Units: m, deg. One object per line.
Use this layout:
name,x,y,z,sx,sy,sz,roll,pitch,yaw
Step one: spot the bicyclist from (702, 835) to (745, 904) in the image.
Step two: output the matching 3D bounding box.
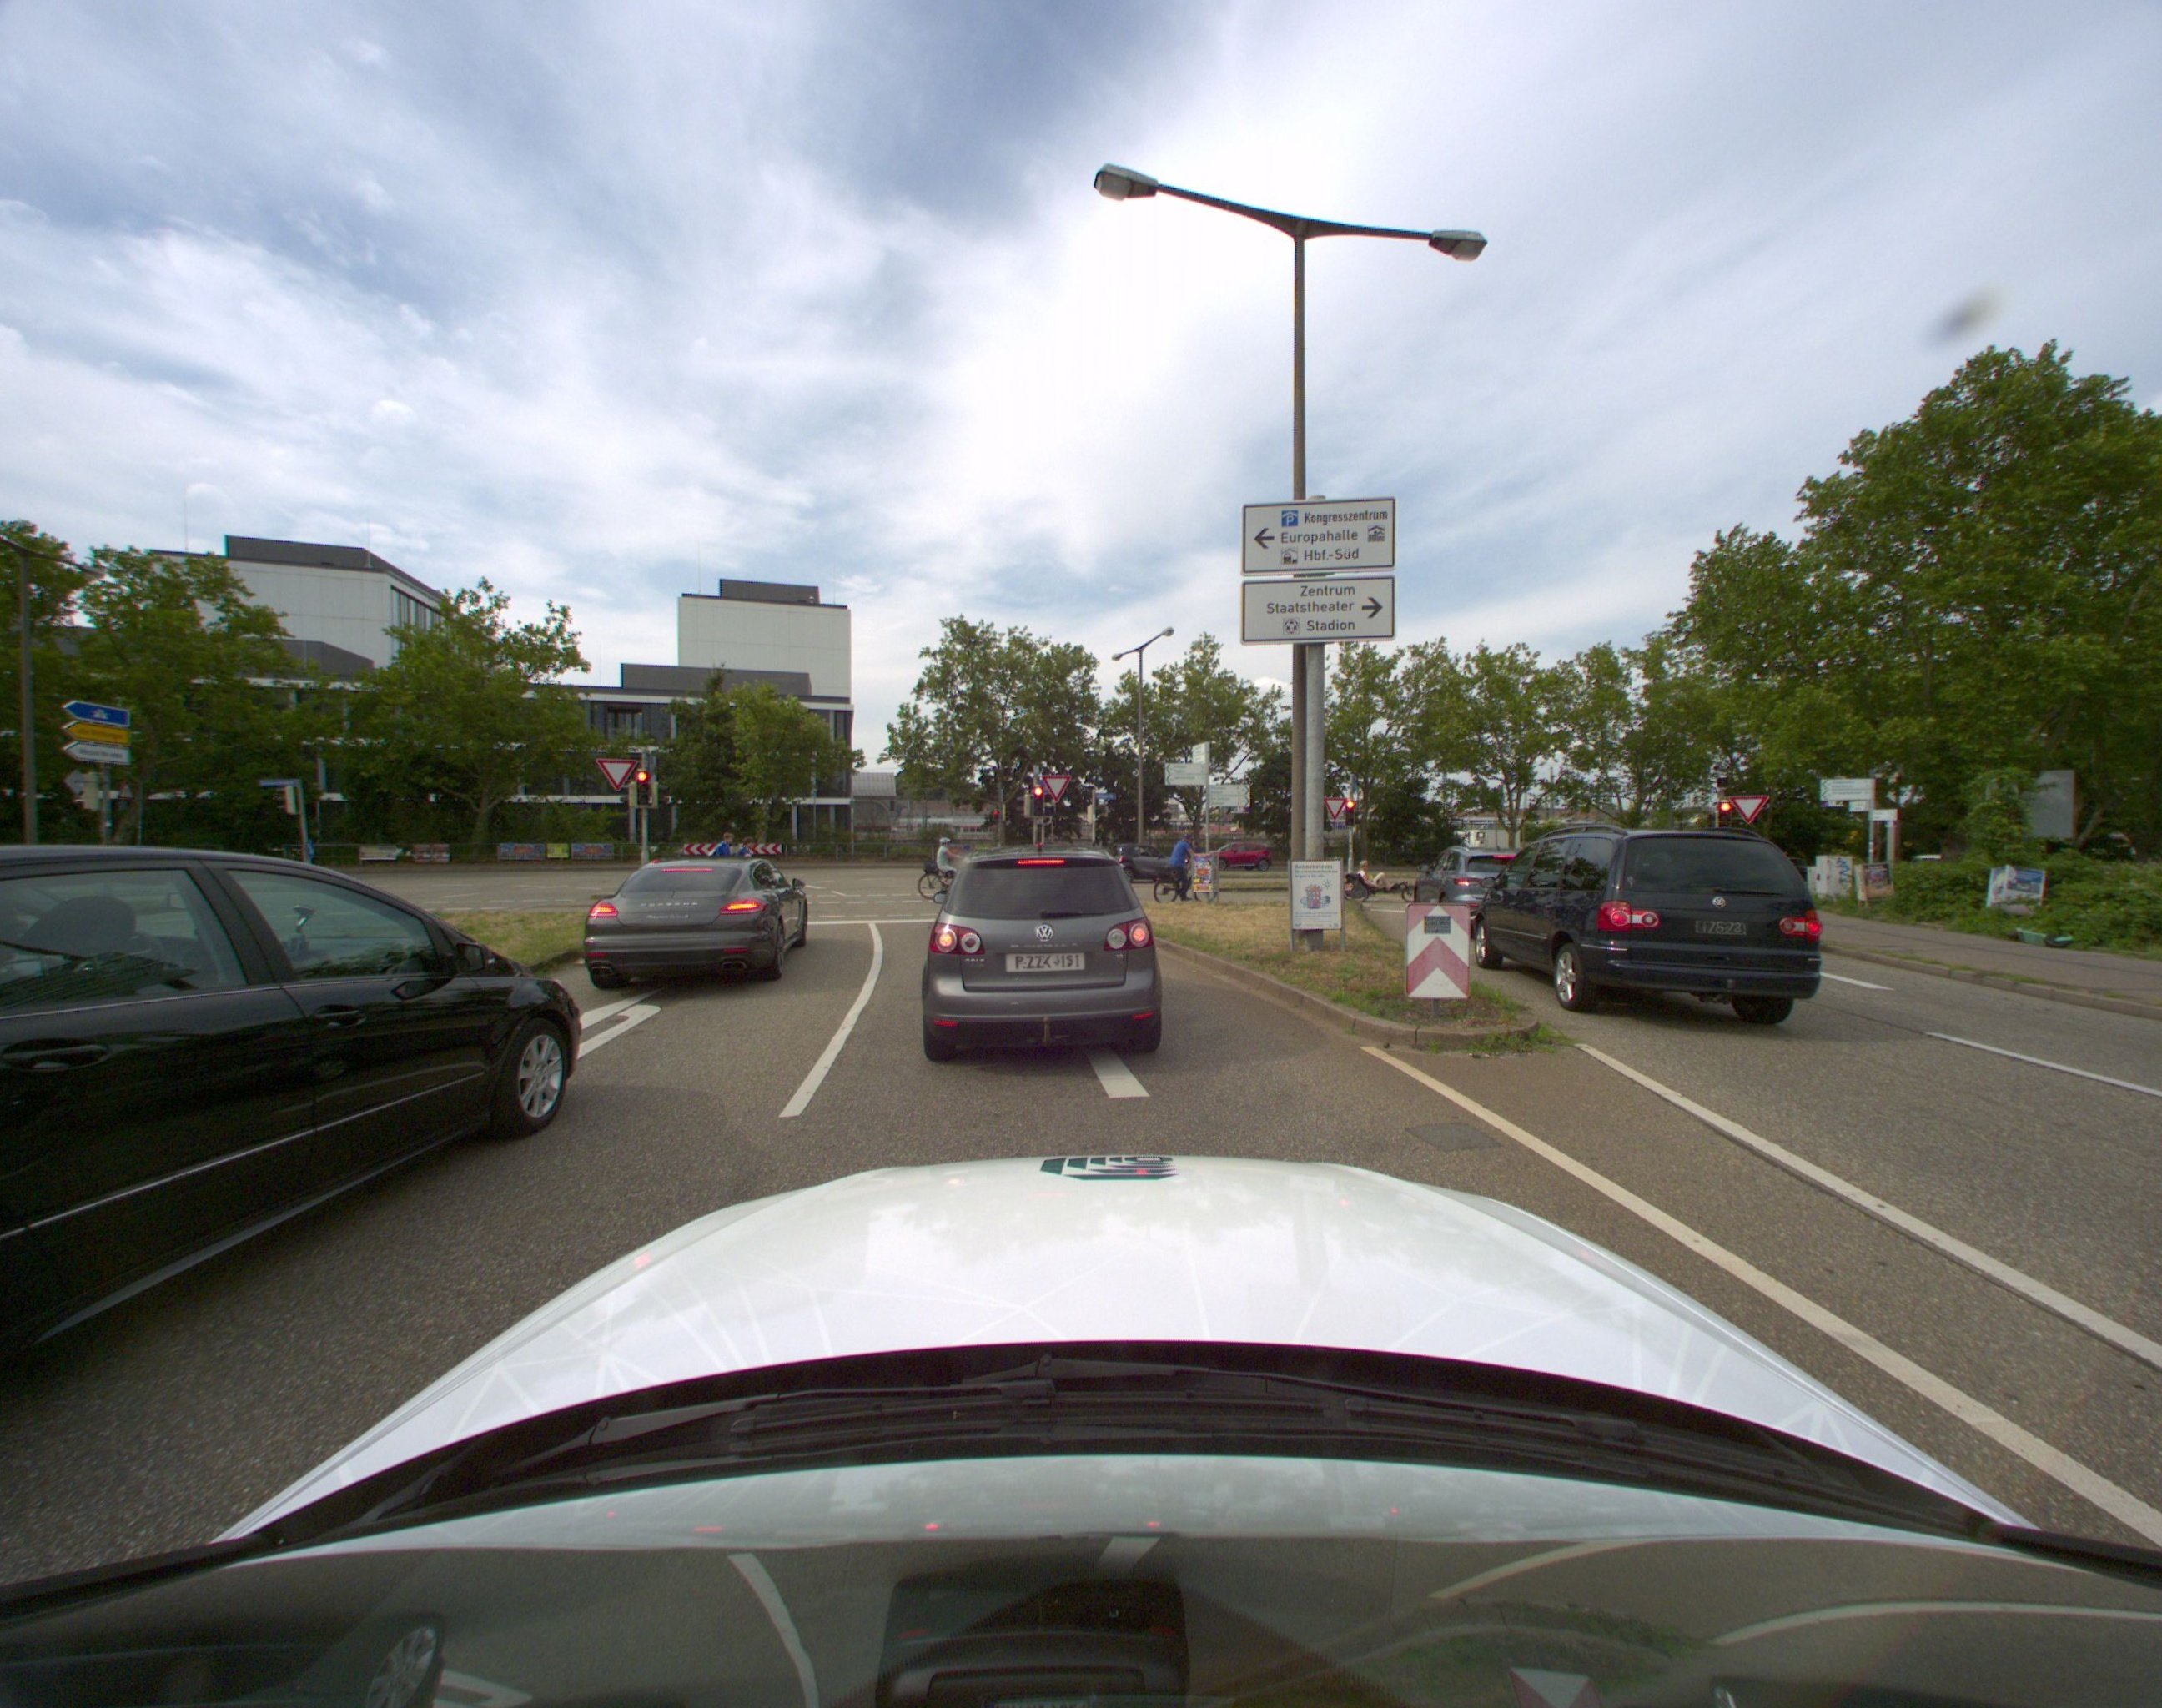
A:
bicyclist,-8.201,0.338,18.721,0.841,1.529,0.624,-1,1,-19

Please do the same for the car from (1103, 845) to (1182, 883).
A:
car,2.405,0.352,32.006,2.719,1.422,1.490,-1,0,-19

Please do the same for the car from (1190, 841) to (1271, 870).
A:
car,8.097,0.063,44.148,3.963,1.448,1.692,-1,0,-19

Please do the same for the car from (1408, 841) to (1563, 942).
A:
car,7.391,0.609,15.299,1.679,1.585,4.171,2,0,13

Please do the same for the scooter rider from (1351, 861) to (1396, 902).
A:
scooter rider,8.328,0.771,23.202,0.914,1.137,0.805,0,1,-13

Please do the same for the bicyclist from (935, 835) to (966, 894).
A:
bicyclist,-3.609,0.277,22.489,0.781,1.581,0.651,-1,1,-15

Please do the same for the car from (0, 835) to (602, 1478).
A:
car,-3.653,0.729,2.964,1.755,1.575,4.028,0,1,-6

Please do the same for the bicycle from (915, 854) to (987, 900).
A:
bicycle,-3.600,0.622,22.509,1.904,1.210,0.640,-1,1,-15

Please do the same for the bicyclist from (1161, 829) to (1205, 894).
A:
bicyclist,2.664,0.195,21.326,0.883,1.656,0.807,-1,0,-17

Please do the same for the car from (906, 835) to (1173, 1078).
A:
car,-0.461,0.647,7.363,1.739,1.546,4.073,-1,0,-6

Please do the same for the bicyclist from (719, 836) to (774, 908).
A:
bicyclist,-7.270,0.370,17.720,1.018,1.539,0.625,-1,1,-16

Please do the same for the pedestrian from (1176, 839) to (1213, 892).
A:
pedestrian,3.766,0.358,26.958,1.038,1.710,0.858,1,1,19

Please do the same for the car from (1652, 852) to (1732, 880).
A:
car,37.037,0.697,49.389,3.907,1.596,1.902,-1,1,-16

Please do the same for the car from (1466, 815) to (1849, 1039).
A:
car,5.574,0.573,8.601,1.739,1.724,4.151,2,0,11

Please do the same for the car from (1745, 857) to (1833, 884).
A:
car,39.079,0.875,44.969,4.064,1.368,1.694,-1,0,-15

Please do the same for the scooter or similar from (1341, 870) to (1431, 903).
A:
scooter or similar,8.714,0.919,23.271,2.381,0.849,0.805,-1,1,-13

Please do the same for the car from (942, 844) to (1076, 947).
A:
car,-1.393,0.598,14.108,1.743,1.482,4.063,-1,0,-14

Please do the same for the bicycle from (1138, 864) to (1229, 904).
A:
bicycle,2.685,0.764,21.311,2.233,0.952,0.807,-1,0,-17

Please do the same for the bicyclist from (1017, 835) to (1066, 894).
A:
bicyclist,-0.998,0.253,20.403,1.115,1.436,0.645,-1,1,-13

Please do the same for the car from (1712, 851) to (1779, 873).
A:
car,45.721,0.540,56.042,3.963,1.448,1.692,-1,0,-19

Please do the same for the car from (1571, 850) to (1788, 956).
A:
car,10.865,0.778,15.188,1.738,1.643,4.152,2,0,13

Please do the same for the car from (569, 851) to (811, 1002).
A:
car,-4.632,0.697,10.431,1.821,1.414,4.754,0,1,-13
